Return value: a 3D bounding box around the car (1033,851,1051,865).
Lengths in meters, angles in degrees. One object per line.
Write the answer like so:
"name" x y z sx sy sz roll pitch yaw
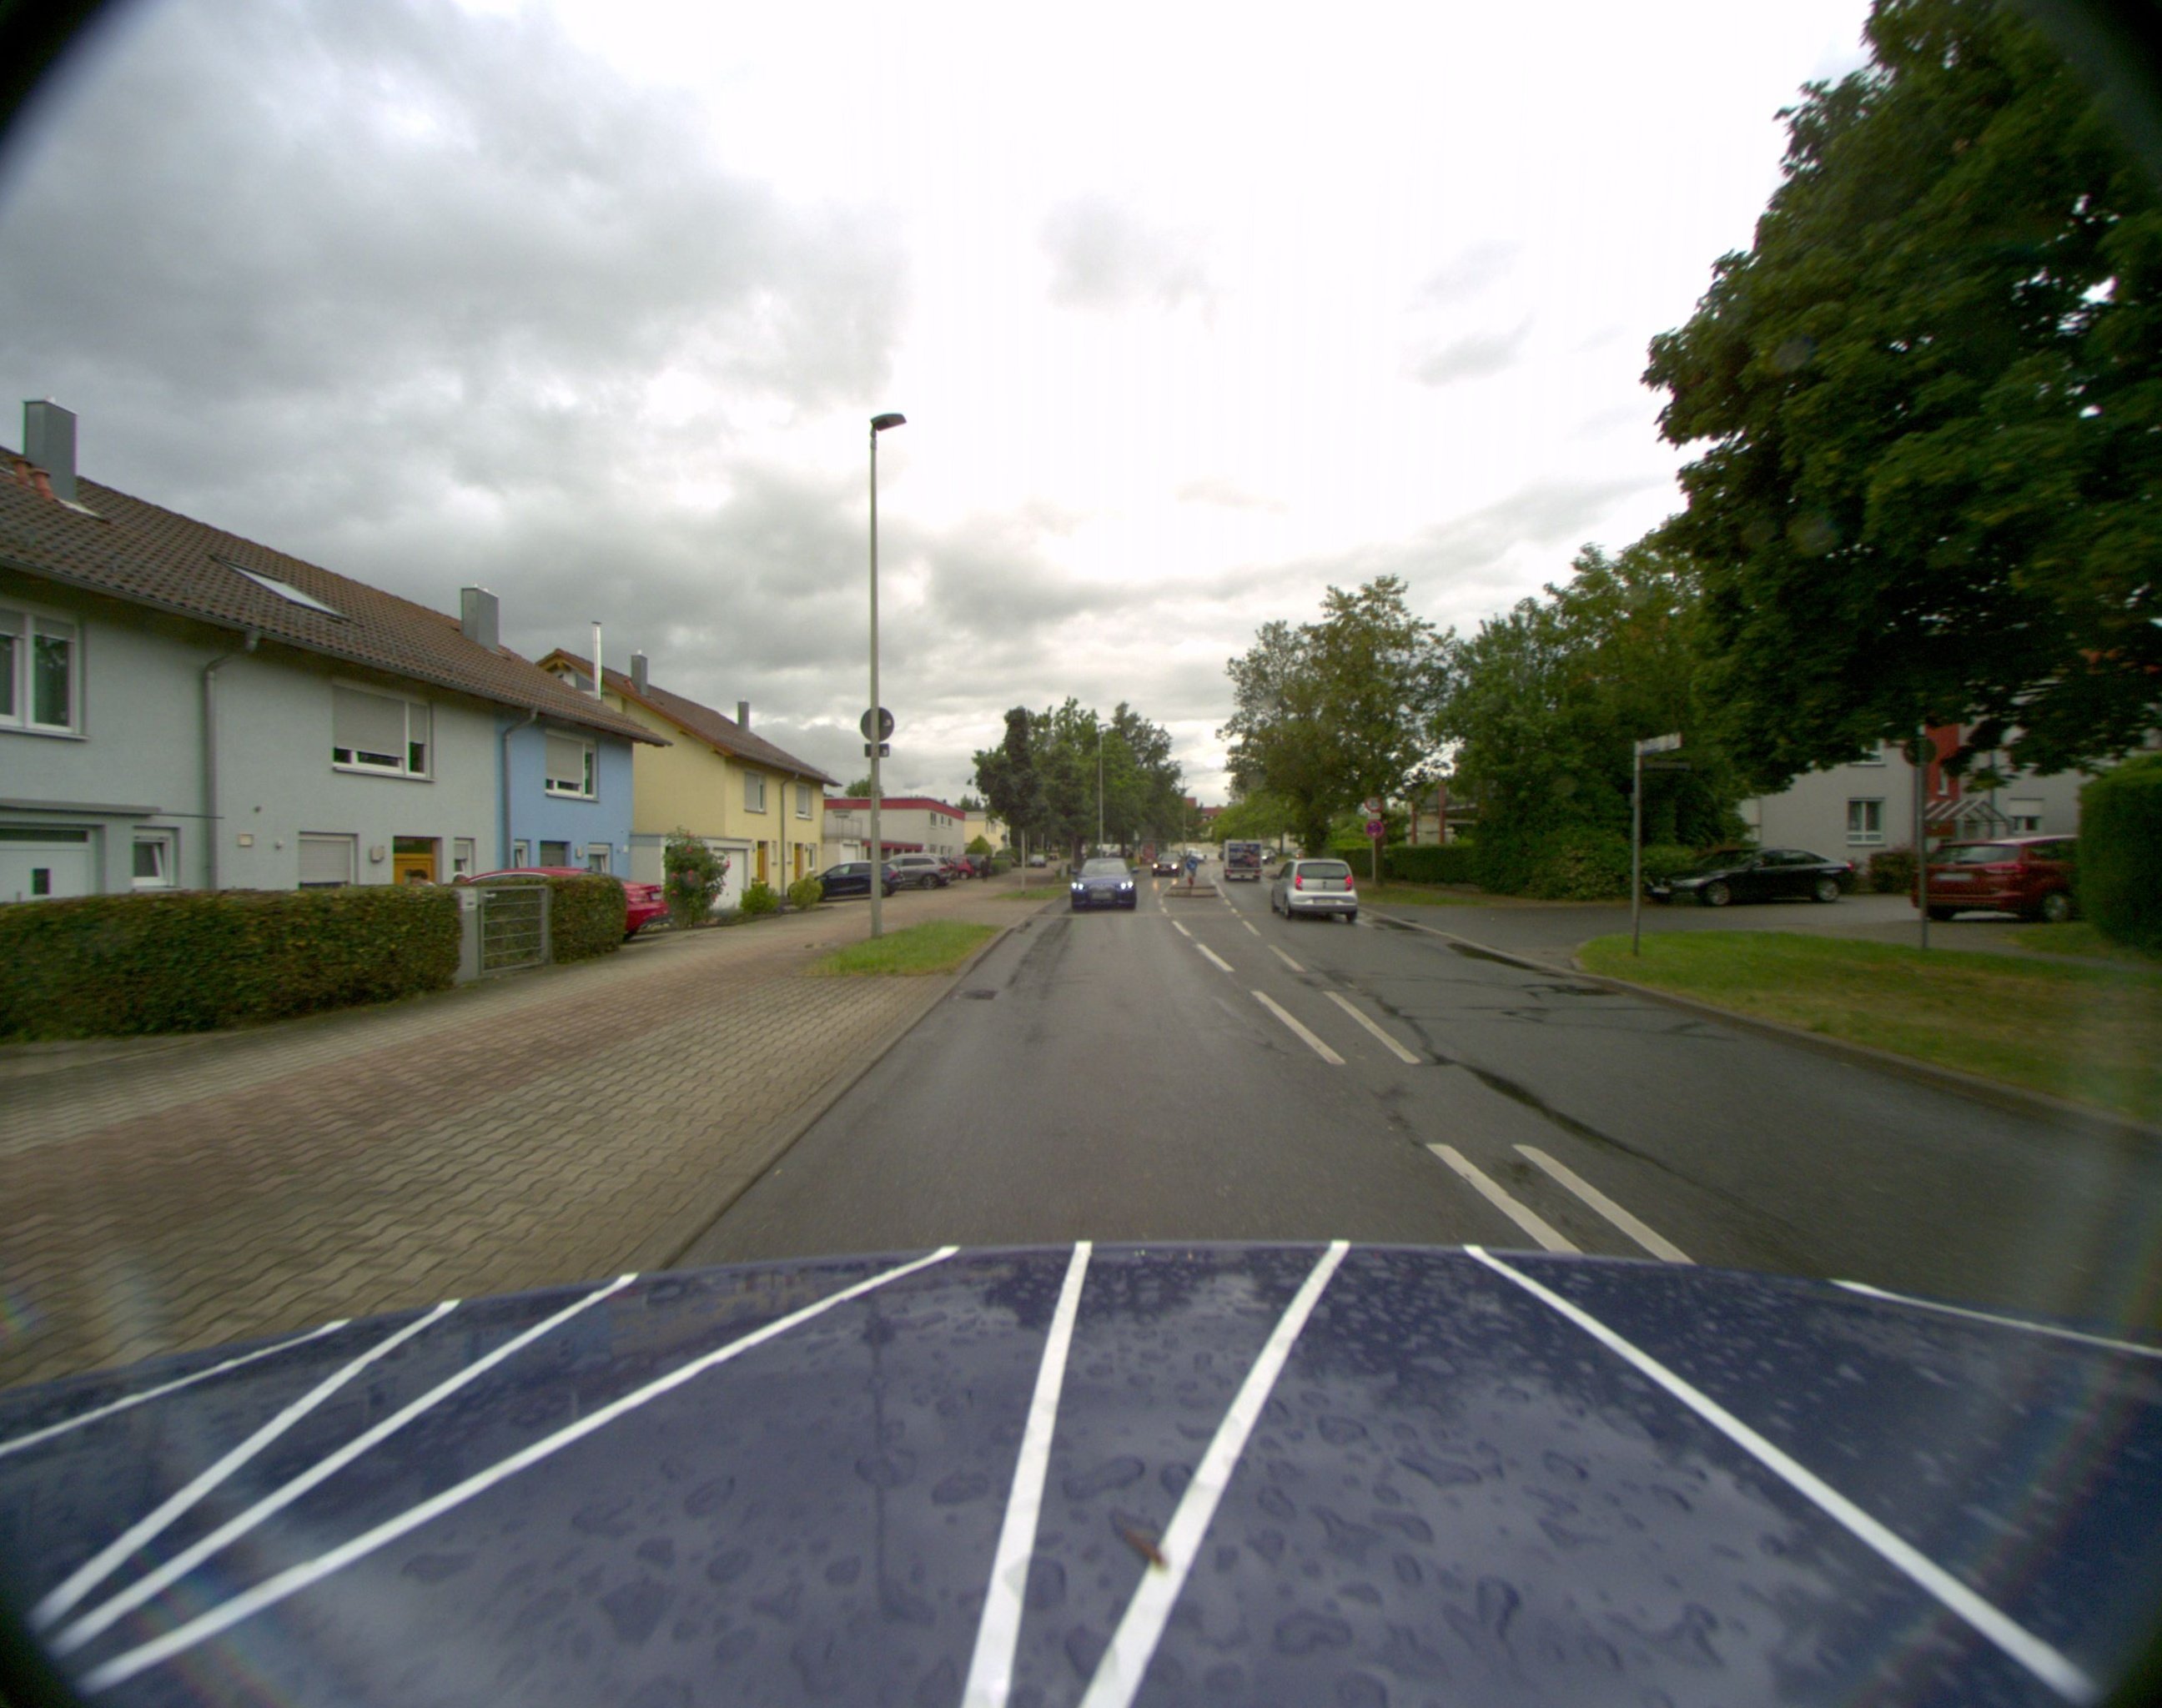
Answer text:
"car" -4.554 0.488 88.243 1.691 1.501 3.826 -1 1 2

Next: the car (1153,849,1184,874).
"car" 5.651 0.446 48.637 1.839 1.440 4.002 -1 1 8

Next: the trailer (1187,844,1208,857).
"trailer" 14.139 -0.449 92.206 1.998 1.534 4.426 -1 1 1

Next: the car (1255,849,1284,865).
"car" 20.342 0.313 81.885 1.837 1.541 4.008 -1 1 34

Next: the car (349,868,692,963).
"car" -9.214 0.963 12.885 4.319 1.253 1.677 -2 0 -13

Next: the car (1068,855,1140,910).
"car" 0.765 0.810 23.017 1.912 1.425 4.302 -2 -1 3

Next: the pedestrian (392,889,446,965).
"pedestrian" -12.427 1.353 14.262 0.496 1.343 0.565 -1 1 23

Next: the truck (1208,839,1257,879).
"truck" 8.945 0.280 45.426 2.221 2.191 6.466 -1 0 6

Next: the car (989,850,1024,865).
"car" -8.099 0.388 82.725 3.621 1.524 1.762 2 1 -2

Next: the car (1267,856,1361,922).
"car" 5.754 0.812 19.114 1.597 1.455 3.454 -1 0 6

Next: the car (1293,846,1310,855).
"car" 39.269 -0.658 135.379 1.745 1.472 3.768 0 1 -1

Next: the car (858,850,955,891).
"car" -8.120 0.745 35.722 4.192 1.662 1.720 -3 1 -6

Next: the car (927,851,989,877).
"car" -8.488 0.659 52.709 3.997 1.711 1.924 -1 1 -1

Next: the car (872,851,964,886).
"car" -8.232 0.741 38.610 4.189 1.662 1.991 -1 1 2

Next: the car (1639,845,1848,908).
"car" 16.921 0.547 19.523 4.027 1.465 1.692 -1 1 -4

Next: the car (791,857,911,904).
"car" -8.653 0.988 28.856 3.998 1.379 1.674 -5 0 -4

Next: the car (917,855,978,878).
"car" -8.764 0.796 50.138 3.702 1.433 1.706 -1 1 -1

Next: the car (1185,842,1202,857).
"car" 14.519 -0.590 98.228 1.998 1.870 4.213 -1 1 5

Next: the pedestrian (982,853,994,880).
"pedestrian" -5.565 0.747 45.525 0.666 1.549 0.842 -1 1 -4

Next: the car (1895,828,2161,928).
"car" 17.977 0.423 14.169 4.028 1.642 1.693 -2 -2 -7

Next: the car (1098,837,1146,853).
"car" 5.188 -1.148 96.455 5.824 2.002 2.003 0 1 25

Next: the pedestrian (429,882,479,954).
"pedestrian" -12.285 1.239 14.902 0.537 1.343 0.529 -1 1 -12

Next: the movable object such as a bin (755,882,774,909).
"movable object such as a bin" -11.416 1.497 27.376 0.483 0.917 0.366 -5 3 -42
